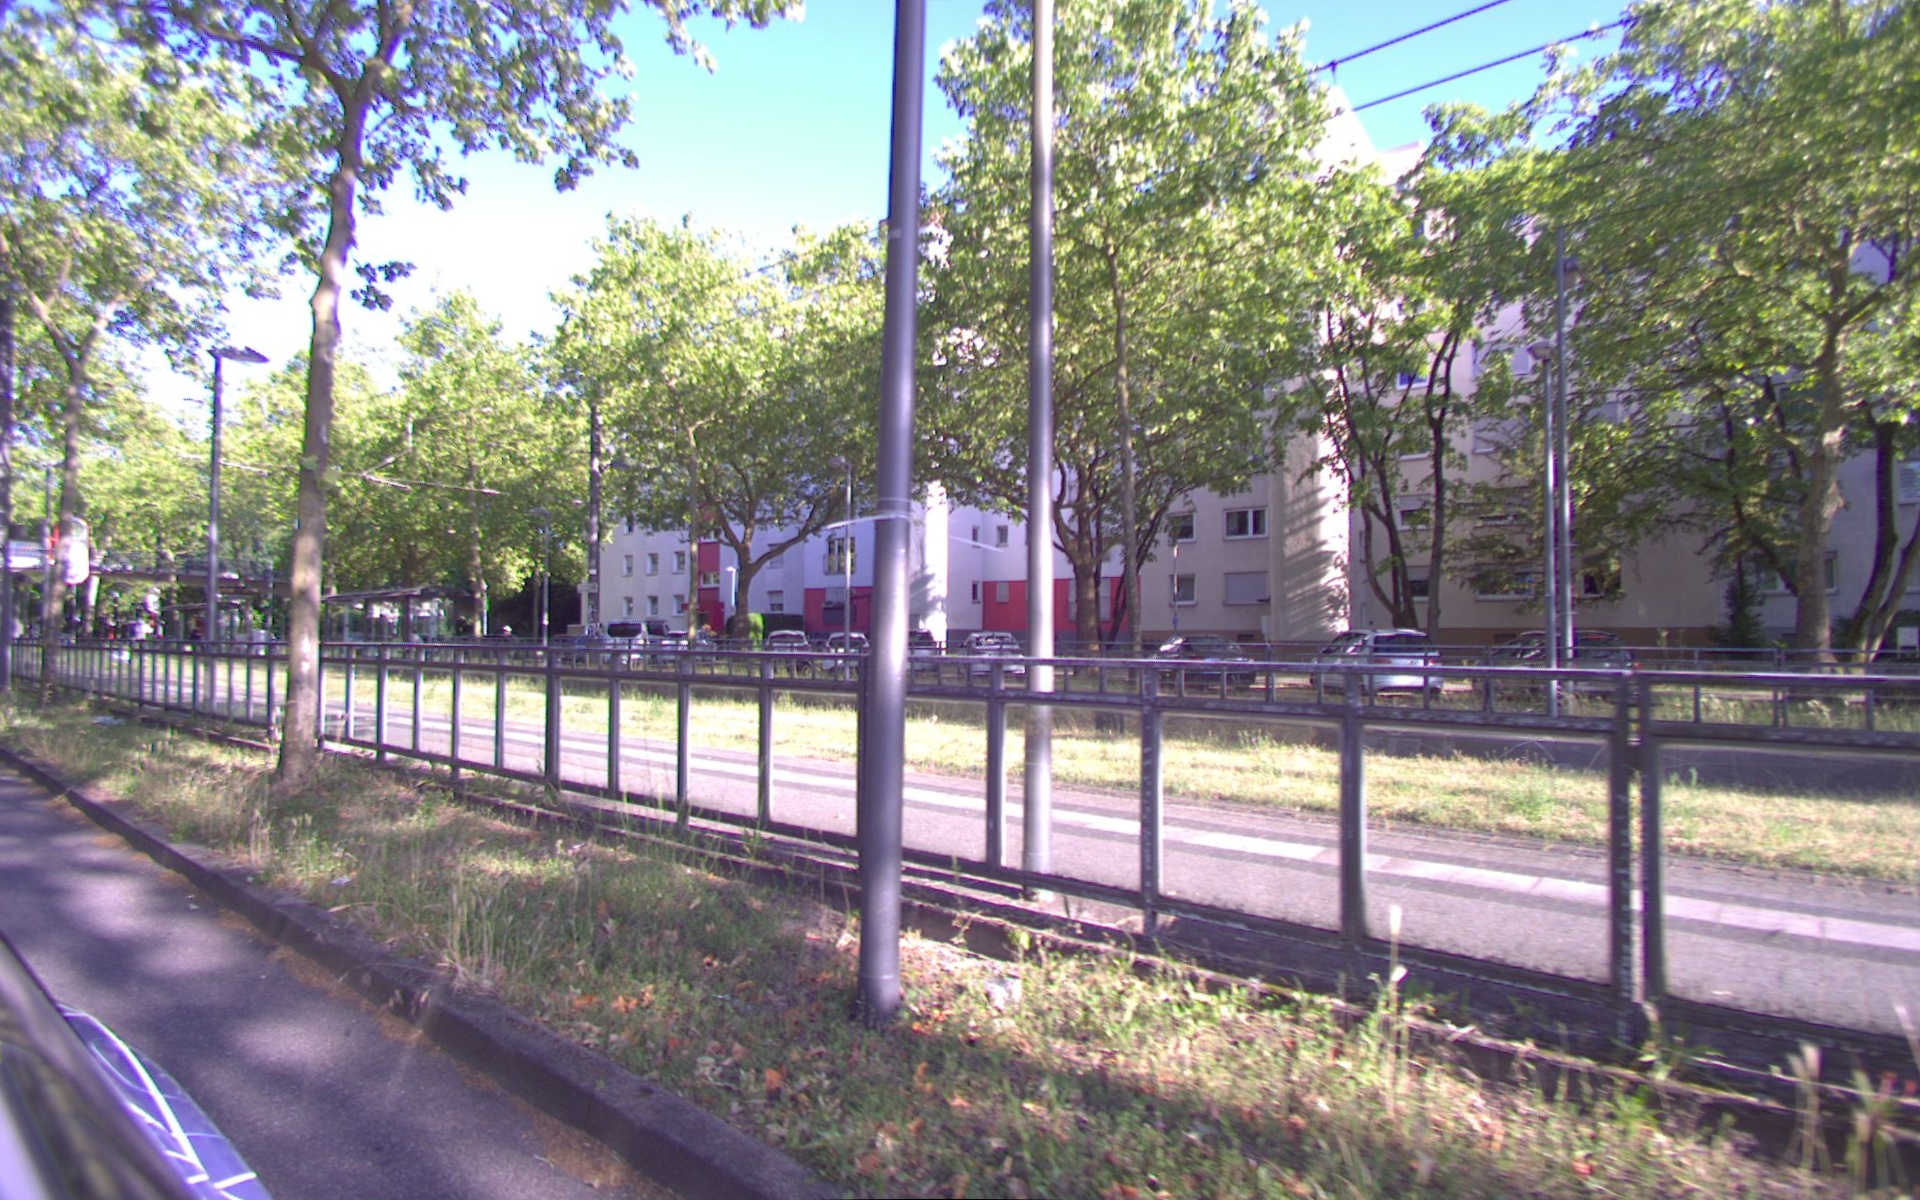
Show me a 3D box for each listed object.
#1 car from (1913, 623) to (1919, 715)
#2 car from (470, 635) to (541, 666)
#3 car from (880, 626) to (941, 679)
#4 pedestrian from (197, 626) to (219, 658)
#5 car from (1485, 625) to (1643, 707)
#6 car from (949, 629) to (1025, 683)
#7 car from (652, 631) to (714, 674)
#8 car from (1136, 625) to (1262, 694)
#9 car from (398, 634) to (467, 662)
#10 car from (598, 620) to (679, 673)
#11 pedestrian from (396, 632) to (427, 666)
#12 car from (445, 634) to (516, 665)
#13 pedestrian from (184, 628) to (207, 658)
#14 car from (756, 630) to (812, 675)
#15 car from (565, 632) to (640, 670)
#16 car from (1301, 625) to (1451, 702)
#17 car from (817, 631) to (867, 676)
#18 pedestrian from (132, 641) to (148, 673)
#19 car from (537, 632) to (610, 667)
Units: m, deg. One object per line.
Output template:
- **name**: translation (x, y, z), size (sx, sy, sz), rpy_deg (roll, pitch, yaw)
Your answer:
- **car**: translation (17.184, 1.107, 15.755), size (1.442, 1.559, 3.143), rpy_deg (-1, -2, -7)
- **car**: translation (-23.106, 2.548, 51.623), size (1.677, 1.439, 4.198), rpy_deg (-2, -1, 1)
- **car**: translation (-1.683, 1.677, 33.231), size (1.551, 1.580, 4.067), rpy_deg (-1, -2, -9)
- **pedestrian**: translation (-38.993, 2.199, 52.480), size (0.714, 1.647, 0.722), rpy_deg (-1, -3, 38)
- **car**: translation (12.218, 1.284, 20.720), size (1.447, 1.520, 3.377), rpy_deg (-2, -2, 7)
- **car**: translation (0.741, 1.635, 30.449), size (1.551, 1.485, 4.067), rpy_deg (-1, -2, -9)
- **car**: translation (-11.200, 2.102, 41.203), size (1.664, 1.623, 4.063), rpy_deg (-1, -2, -4)
- **car**: translation (5.927, 1.461, 25.651), size (1.620, 1.556, 4.183), rpy_deg (-1, -2, -9)
- **car**: translation (-30.171, 2.715, 57.984), size (1.677, 1.439, 4.198), rpy_deg (-2, -1, 1)
- **car**: translation (-13.550, 1.918, 42.914), size (1.874, 2.079, 4.498), rpy_deg (-2, -1, 1)
- **pedestrian**: translation (-19.000, 1.703, 35.056), size (0.661, 1.136, 0.687), rpy_deg (-1, -5, 41)
- **car**: translation (-25.252, 2.596, 53.402), size (1.677, 1.439, 4.198), rpy_deg (-2, -1, 1)
- **pedestrian**: translation (-39.462, 2.232, 52.253), size (0.681, 1.525, 0.638), rpy_deg (-1, -4, 27)
- **car**: translation (-6.414, 1.885, 37.188), size (1.870, 1.515, 4.508), rpy_deg (-1, -2, -9)
- **car**: translation (-15.910, 2.241, 45.297), size (1.872, 1.509, 4.502), rpy_deg (-2, -1, -2)
- **car**: translation (9.369, 1.386, 23.145), size (1.623, 1.556, 3.994), rpy_deg (-1, -2, -2)
- **car**: translation (-4.175, 1.837, 35.348), size (1.551, 1.443, 4.067), rpy_deg (-1, -2, -9)
- **pedestrian**: translation (-47.011, 3.253, 58.017), size (0.477, 1.784, 0.504), rpy_deg (-1, -1, -1)
- **car**: translation (-18.287, 2.307, 48.046), size (1.872, 1.509, 4.502), rpy_deg (-2, -1, -2)
